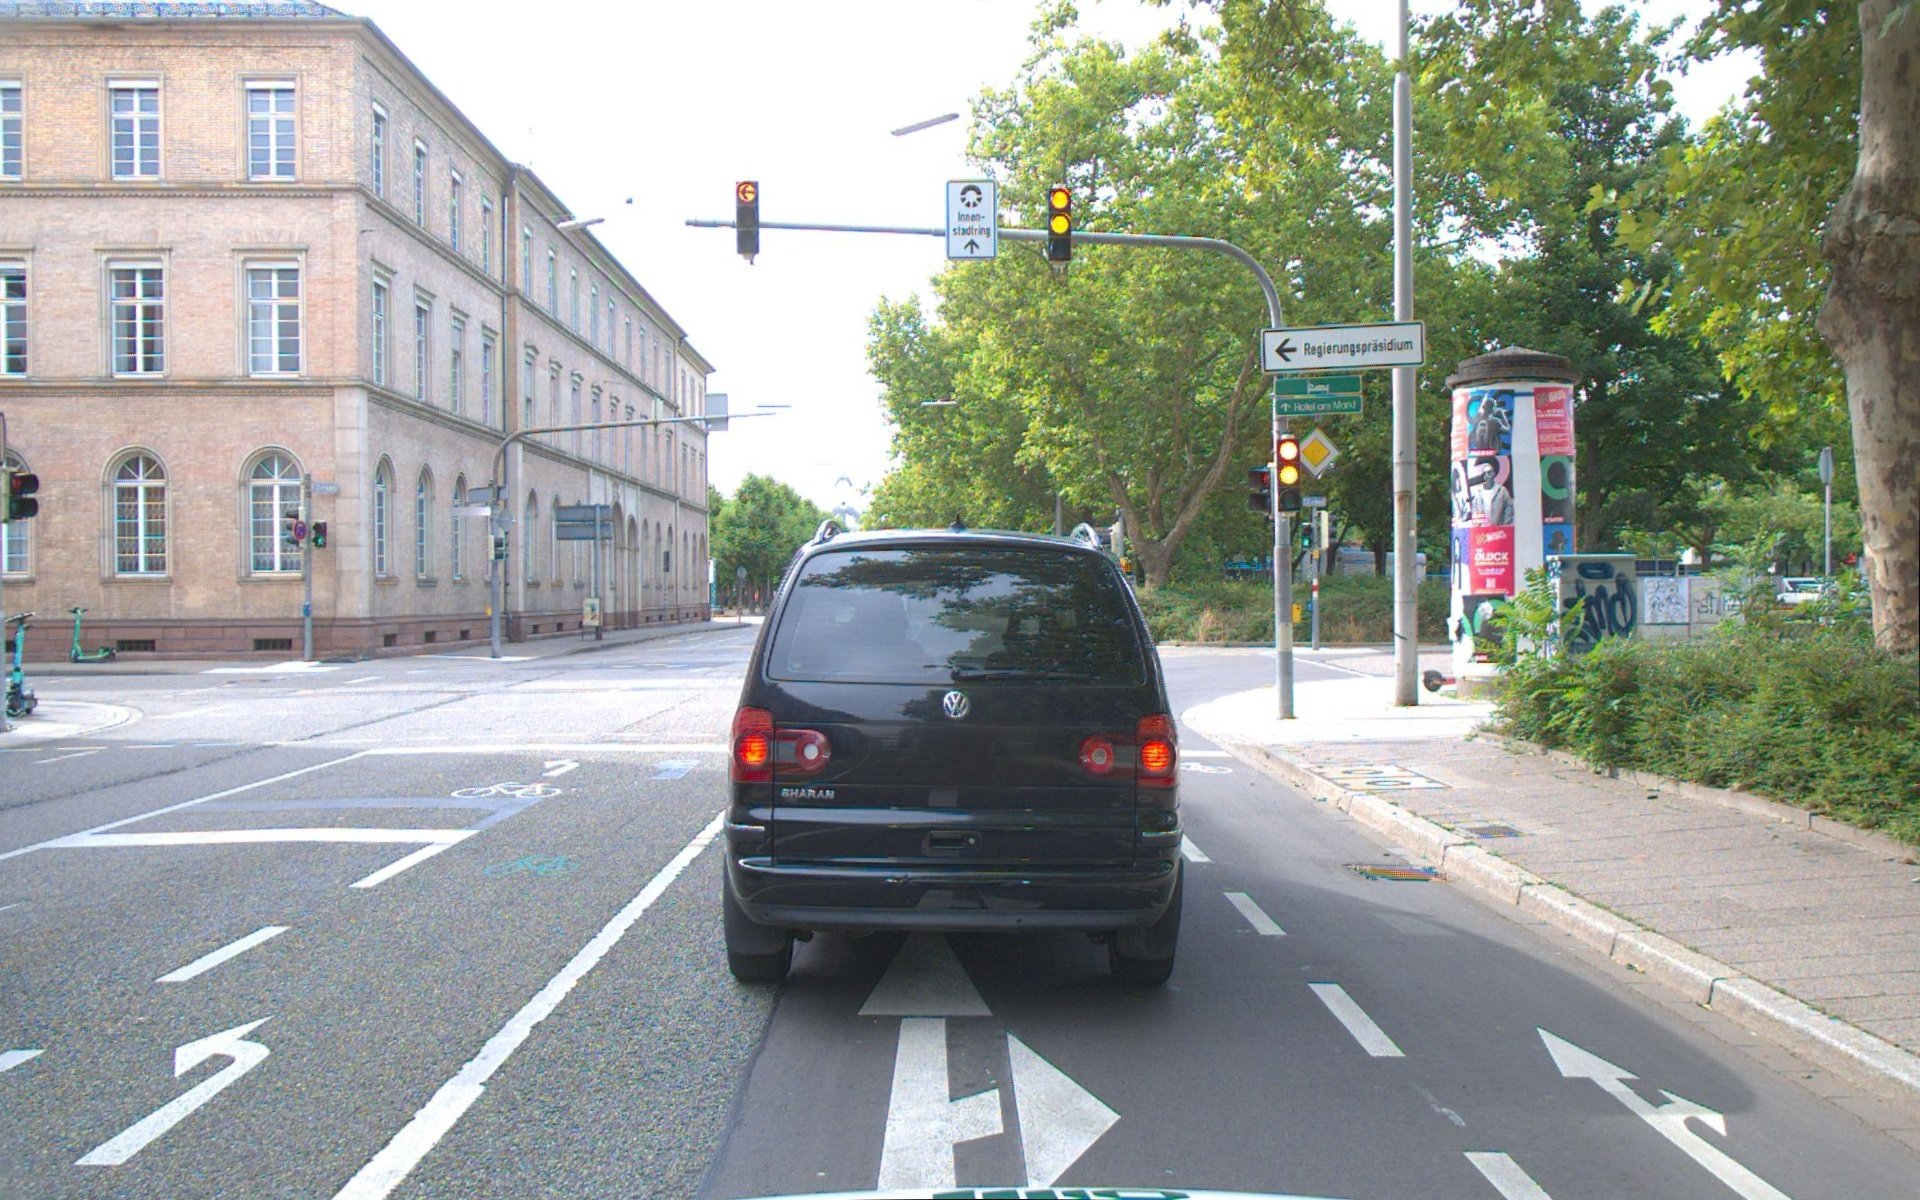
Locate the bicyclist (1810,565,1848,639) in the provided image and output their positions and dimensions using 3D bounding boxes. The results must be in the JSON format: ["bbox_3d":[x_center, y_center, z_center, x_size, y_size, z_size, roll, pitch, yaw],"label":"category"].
[{"bbox_3d":[19.551,0.045,37.217,0.557,1.646,0.535,-1,0,-1],"label":"bicyclist"}]

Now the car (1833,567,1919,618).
[{"bbox_3d":[32.373,-0.274,57.313,1.922,1.680,4.151,-1,0,-3],"label":"car"}]

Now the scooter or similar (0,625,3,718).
[{"bbox_3d":[-12.184,0.884,20.221,0.370,1.167,1.141,-1,-1,-4],"label":"scooter or similar"}]

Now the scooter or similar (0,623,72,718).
[{"bbox_3d":[-11.612,0.873,20.774,0.370,1.164,1.141,-1,-1,-4],"label":"scooter or similar"}]

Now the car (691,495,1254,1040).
[{"bbox_3d":[0.052,0.528,7.715,1.835,1.775,4.573,0,1,0],"label":"car"}]

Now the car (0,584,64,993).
[{"bbox_3d":[-4.197,0.711,4.118,1.678,1.445,4.252,-2,0,-2],"label":"car"}]

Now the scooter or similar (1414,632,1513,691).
[{"bbox_3d":[6.629,0.807,21.798,1.194,0.749,0.369,-1,0,-2],"label":"scooter or similar"}]

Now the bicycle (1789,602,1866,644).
[{"bbox_3d":[19.524,0.510,37.223,1.440,0.900,0.555,-1,0,-1],"label":"bicycle"}]

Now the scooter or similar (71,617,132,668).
[{"bbox_3d":[-18.422,0.914,35.492,1.115,1.068,0.379,-1,-1,-1],"label":"scooter or similar"}]
